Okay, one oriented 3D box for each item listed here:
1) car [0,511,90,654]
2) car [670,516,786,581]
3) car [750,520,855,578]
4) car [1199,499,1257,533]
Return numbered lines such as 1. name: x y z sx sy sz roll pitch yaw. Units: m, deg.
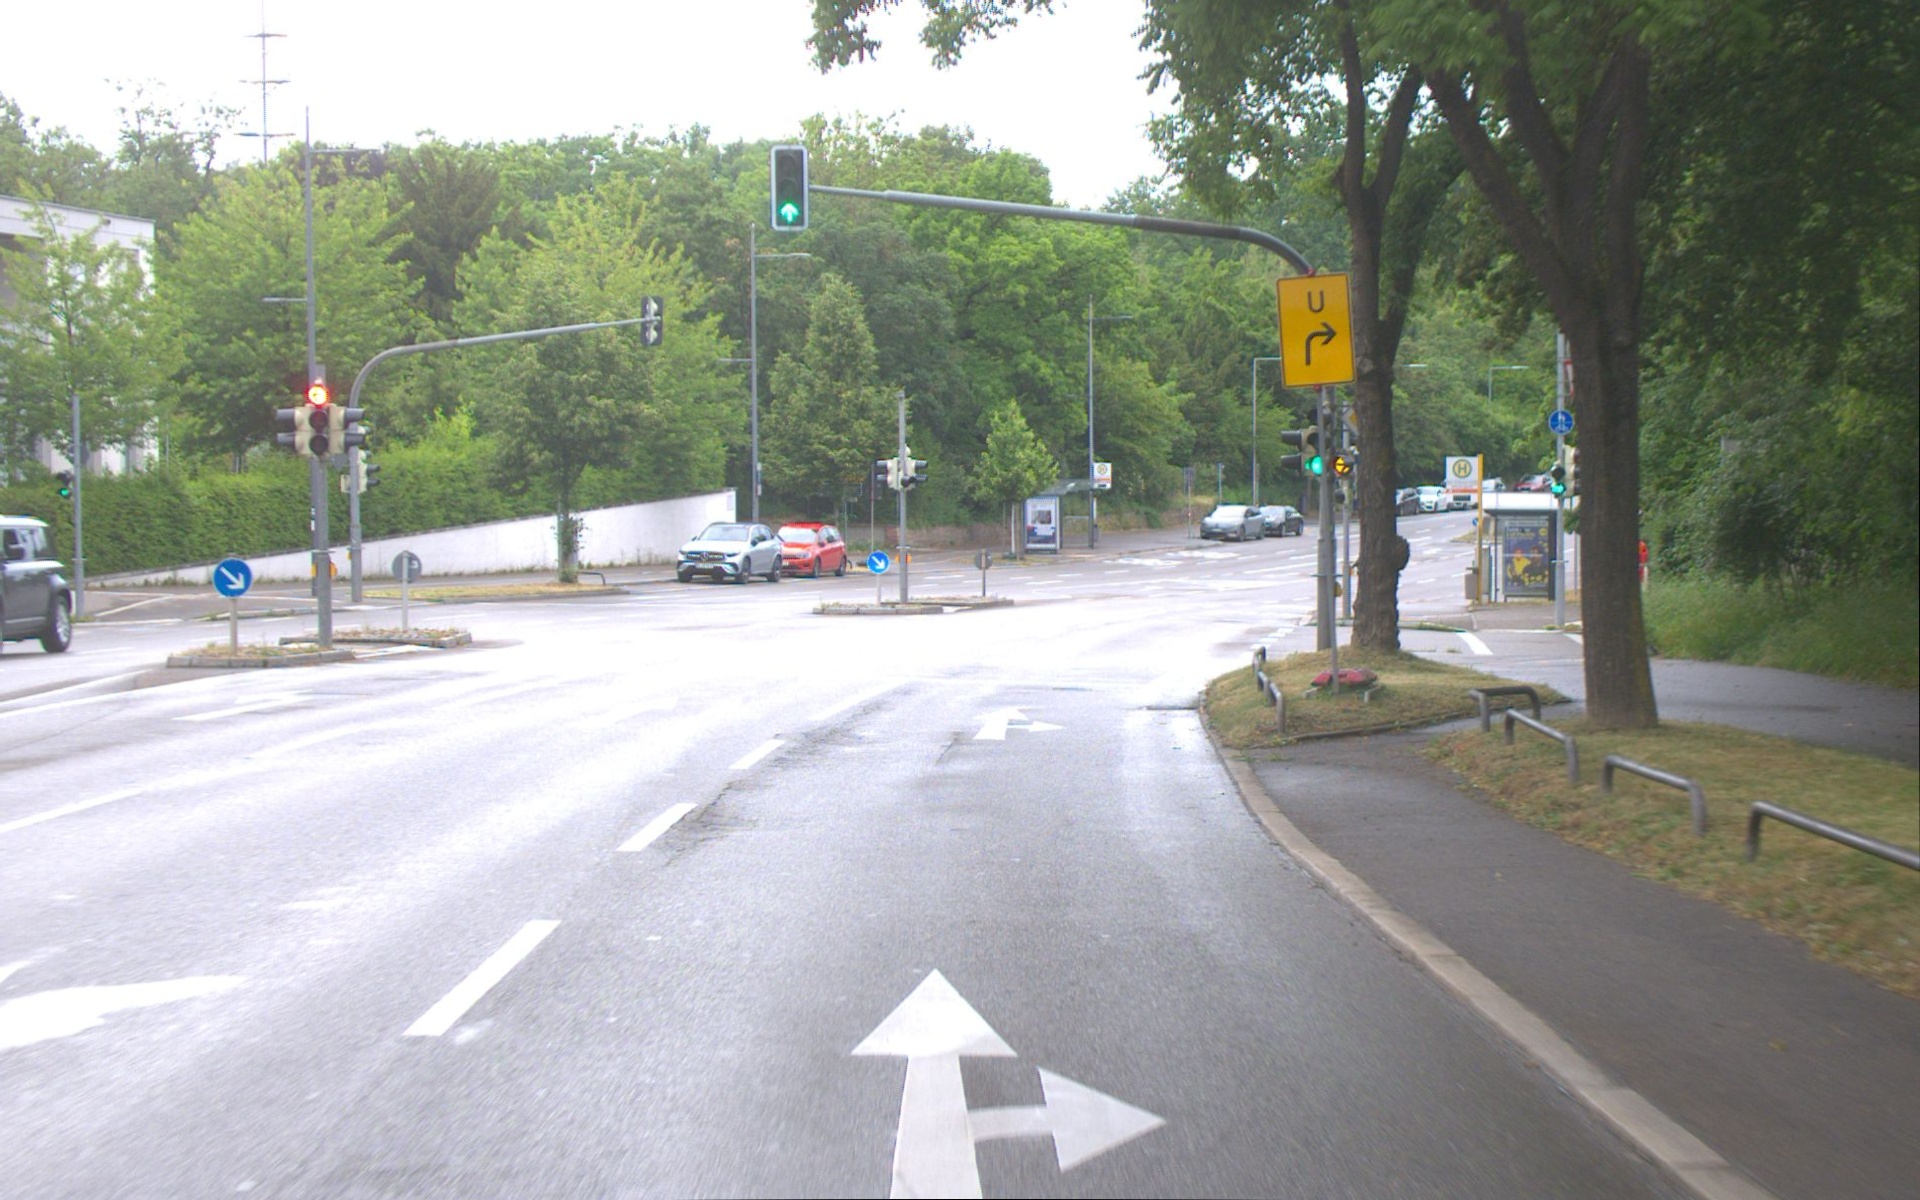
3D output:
1. car: -13.301 -0.206 45.755 1.921 1.851 4.506 -3 1 4
2. car: -6.372 -1.437 94.824 1.854 1.634 4.091 4 2 16
3. car: -4.632 -1.522 101.792 1.876 1.569 4.220 3 2 14
4. car: 12.033 -3.762 154.242 1.714 1.455 3.747 1 1 18
